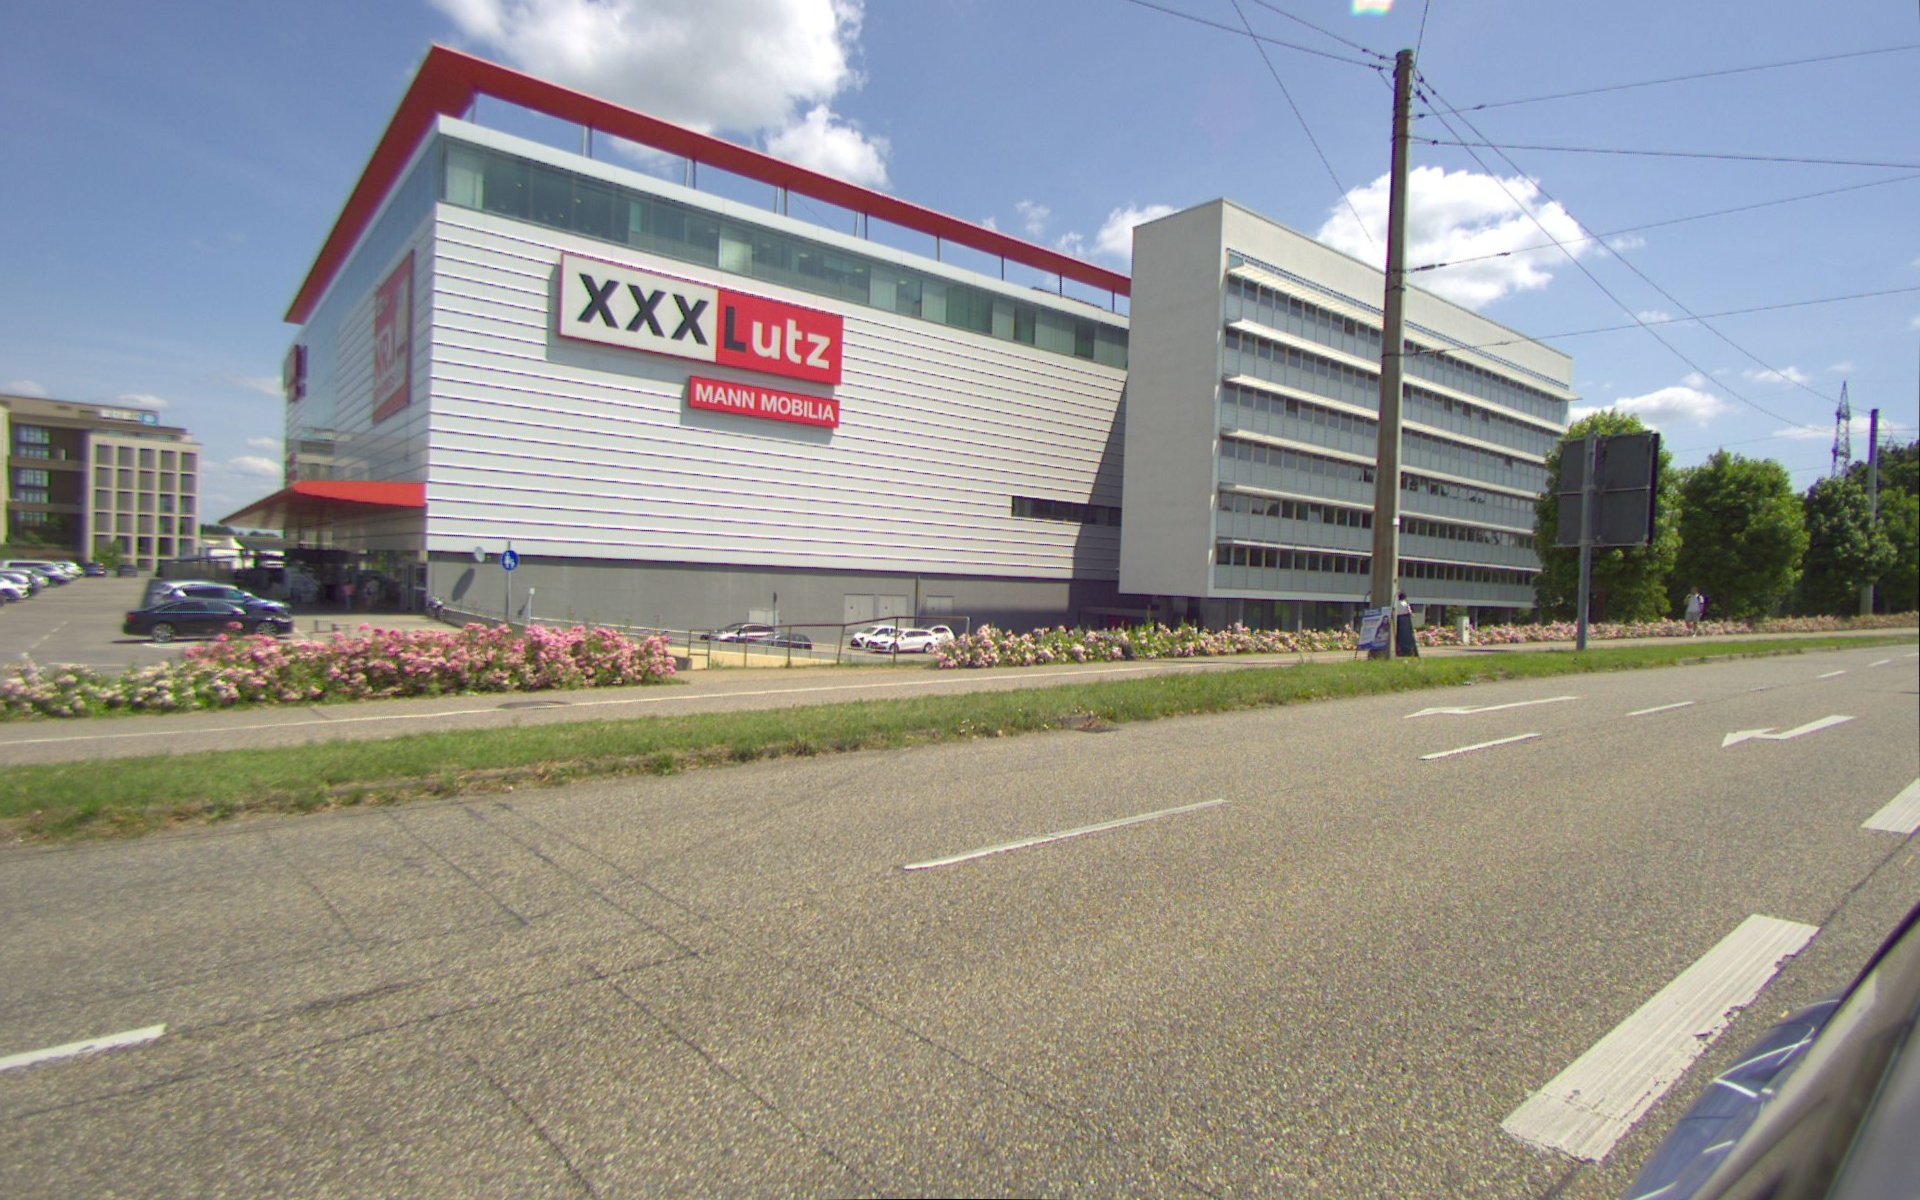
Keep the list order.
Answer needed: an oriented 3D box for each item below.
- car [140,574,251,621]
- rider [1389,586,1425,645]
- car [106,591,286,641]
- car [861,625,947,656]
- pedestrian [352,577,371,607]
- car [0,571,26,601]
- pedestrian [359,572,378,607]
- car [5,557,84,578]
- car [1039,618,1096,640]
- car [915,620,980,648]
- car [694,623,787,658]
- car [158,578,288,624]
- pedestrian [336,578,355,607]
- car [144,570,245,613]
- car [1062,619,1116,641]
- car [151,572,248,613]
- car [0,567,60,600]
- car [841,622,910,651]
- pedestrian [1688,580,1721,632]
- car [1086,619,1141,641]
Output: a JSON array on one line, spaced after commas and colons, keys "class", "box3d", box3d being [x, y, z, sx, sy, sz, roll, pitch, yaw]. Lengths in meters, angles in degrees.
[{"class": "car", "box3d": [-34.703, -0.151, 46.001, 3.930, 2.039, 1.997, 0, 1, -41]}, {"class": "rider", "box3d": [11.568, 0.391, 26.187, 0.607, 1.476, 0.670, 0, 0, -41]}, {"class": "car", "box3d": [-26.647, 0.506, 35.403, 4.912, 1.631, 1.997, 0, 0, -41]}, {"class": "car", "box3d": [-3.380, 2.437, 61.447, 5.057, 1.632, 1.997, 0, 1, -41]}, {"class": "pedestrian", "box3d": [-32.337, -0.429, 54.687, 0.723, 1.577, 0.741, 0, 0, -42]}, {"class": "car", "box3d": [-54.859, -0.776, 55.709, 4.912, 1.631, 1.997, 0, 0, -41]}, {"class": "pedestrian", "box3d": [-32.587, -0.566, 55.757, 0.723, 1.893, 0.741, 0, 0, -42]}, {"class": "car", "box3d": [-78.617, -2.765, 87.005, 4.912, 1.631, 1.997, 0, 0, -41]}, {"class": "car", "box3d": [7.846, 2.099, 73.804, 3.930, 1.465, 1.997, 0, 1, -41]}, {"class": "car", "box3d": [-0.805, 2.223, 67.007, 3.930, 1.632, 1.997, 0, 1, -41]}, {"class": "car", "box3d": [-11.804, 2.153, 54.566, 4.509, 1.632, 1.997, 0, 1, -41]}, {"class": "car", "box3d": [-30.735, 0.039, 42.244, 4.257, 1.804, 1.997, 0, -1, -41]}, {"class": "pedestrian", "box3d": [-33.387, -0.413, 54.991, 0.723, 1.577, 0.741, 0, 0, -42]}, {"class": "car", "box3d": [-38.031, -0.421, 50.315, 3.930, 2.039, 1.997, 0, 0, -41]}, {"class": "car", "box3d": [9.195, 2.124, 71.826, 3.930, 1.403, 1.646, 0, 1, -41]}, {"class": "car", "box3d": [-39.460, -0.427, 52.546, 3.930, 2.039, 1.997, 0, 1, -41]}, {"class": "car", "box3d": [-58.296, -1.014, 62.583, 3.930, 2.039, 1.997, 0, 1, -41]}, {"class": "car", "box3d": [-5.254, 2.229, 63.376, 3.930, 1.632, 1.997, 0, 1, -41]}, {"class": "pedestrian", "box3d": [27.139, 0.201, 36.886, 0.913, 1.872, 0.758, 0, 0, -38]}, {"class": "car", "box3d": [10.623, 2.057, 69.864, 3.930, 1.338, 1.607, 0, 1, -41]}]
